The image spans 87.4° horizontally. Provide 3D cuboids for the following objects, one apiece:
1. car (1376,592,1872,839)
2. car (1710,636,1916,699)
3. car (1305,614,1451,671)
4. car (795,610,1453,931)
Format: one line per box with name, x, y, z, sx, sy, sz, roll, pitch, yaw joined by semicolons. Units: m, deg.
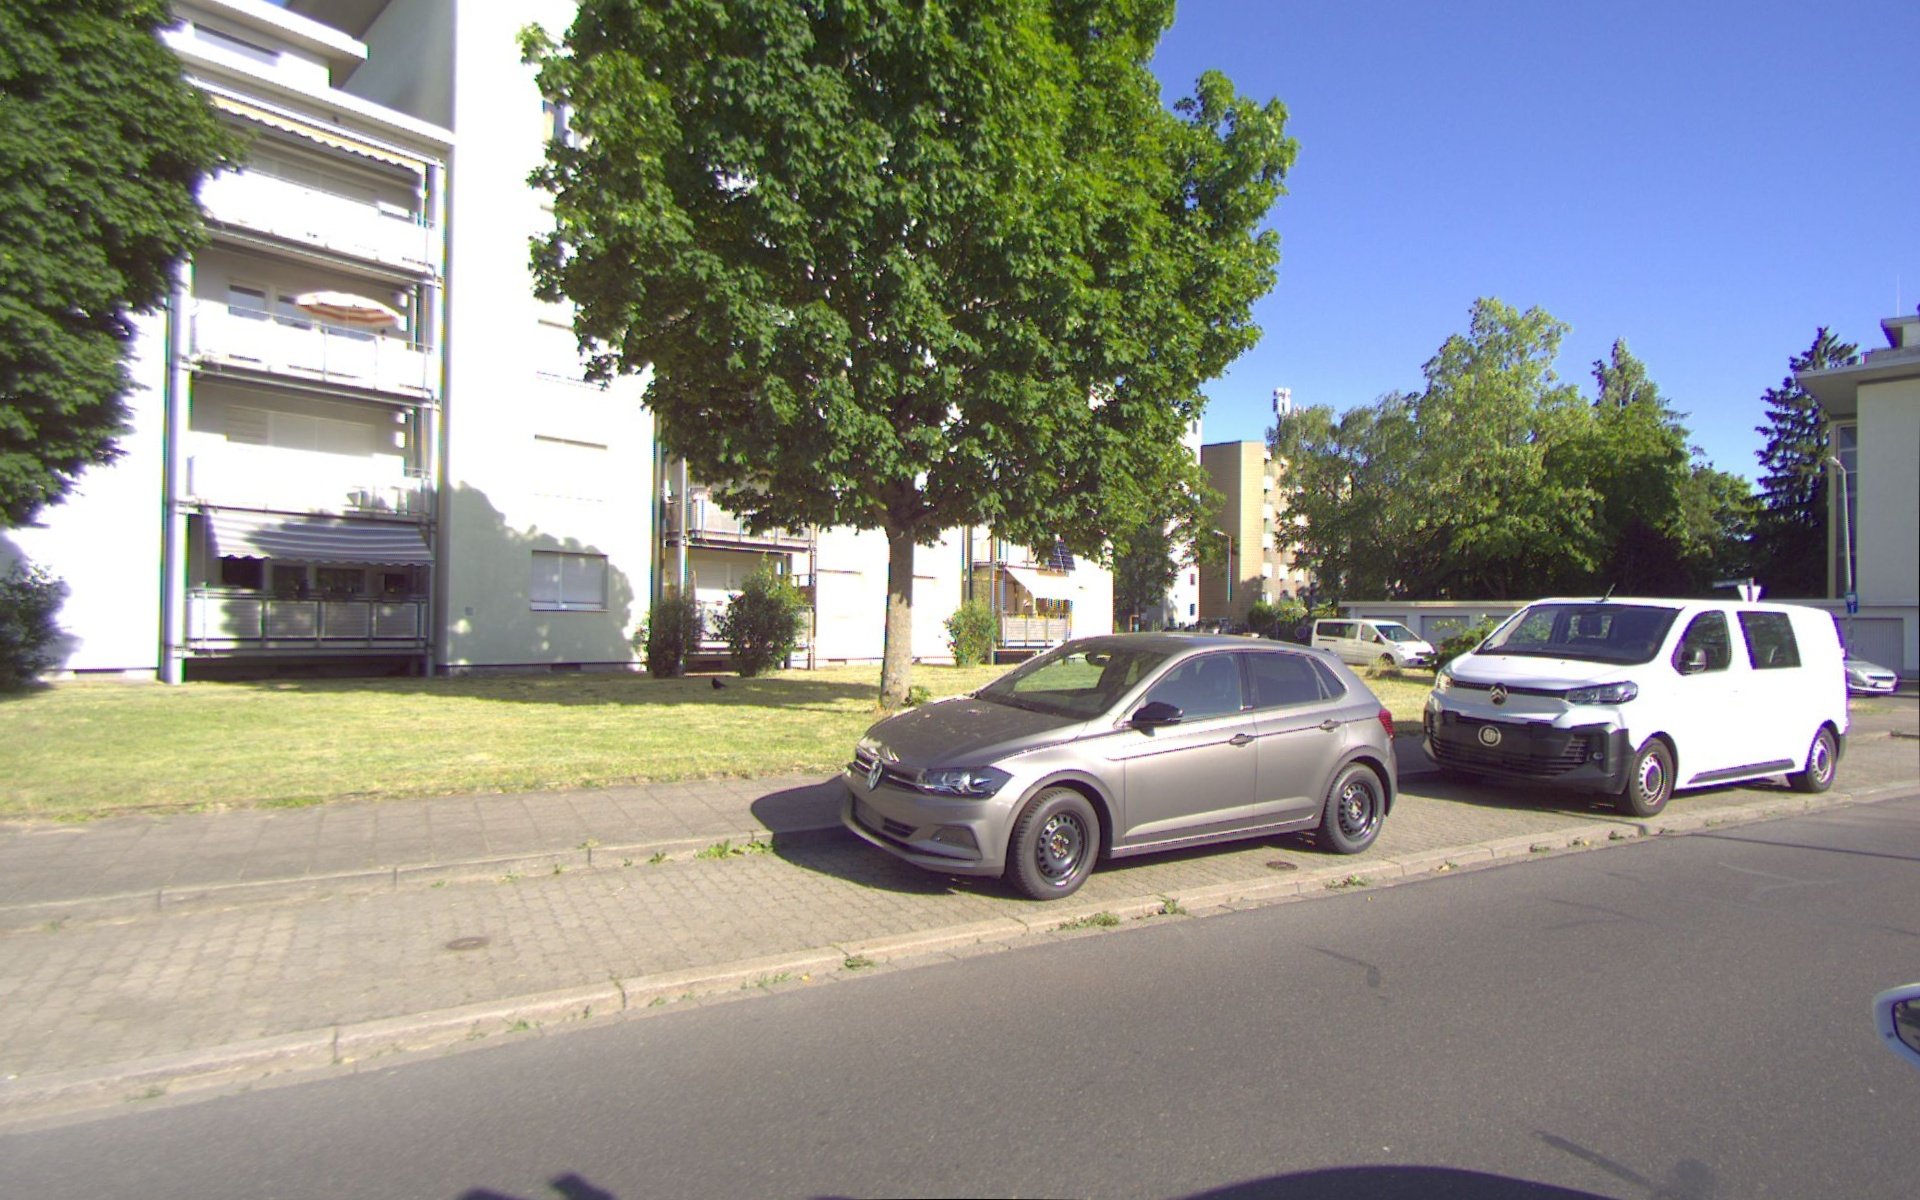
car;6.713;0.983;9.997;5.129;1.911;2.005;2;0;-30
car;23.108;1.794;27.419;1.963;1.480;3.933;1;-1;-11
car;15.879;1.569;38.469;2.205;1.977;5.095;2;-1;-22
car;1.194;0.926;6.811;4.172;1.538;1.824;2;0;-30
